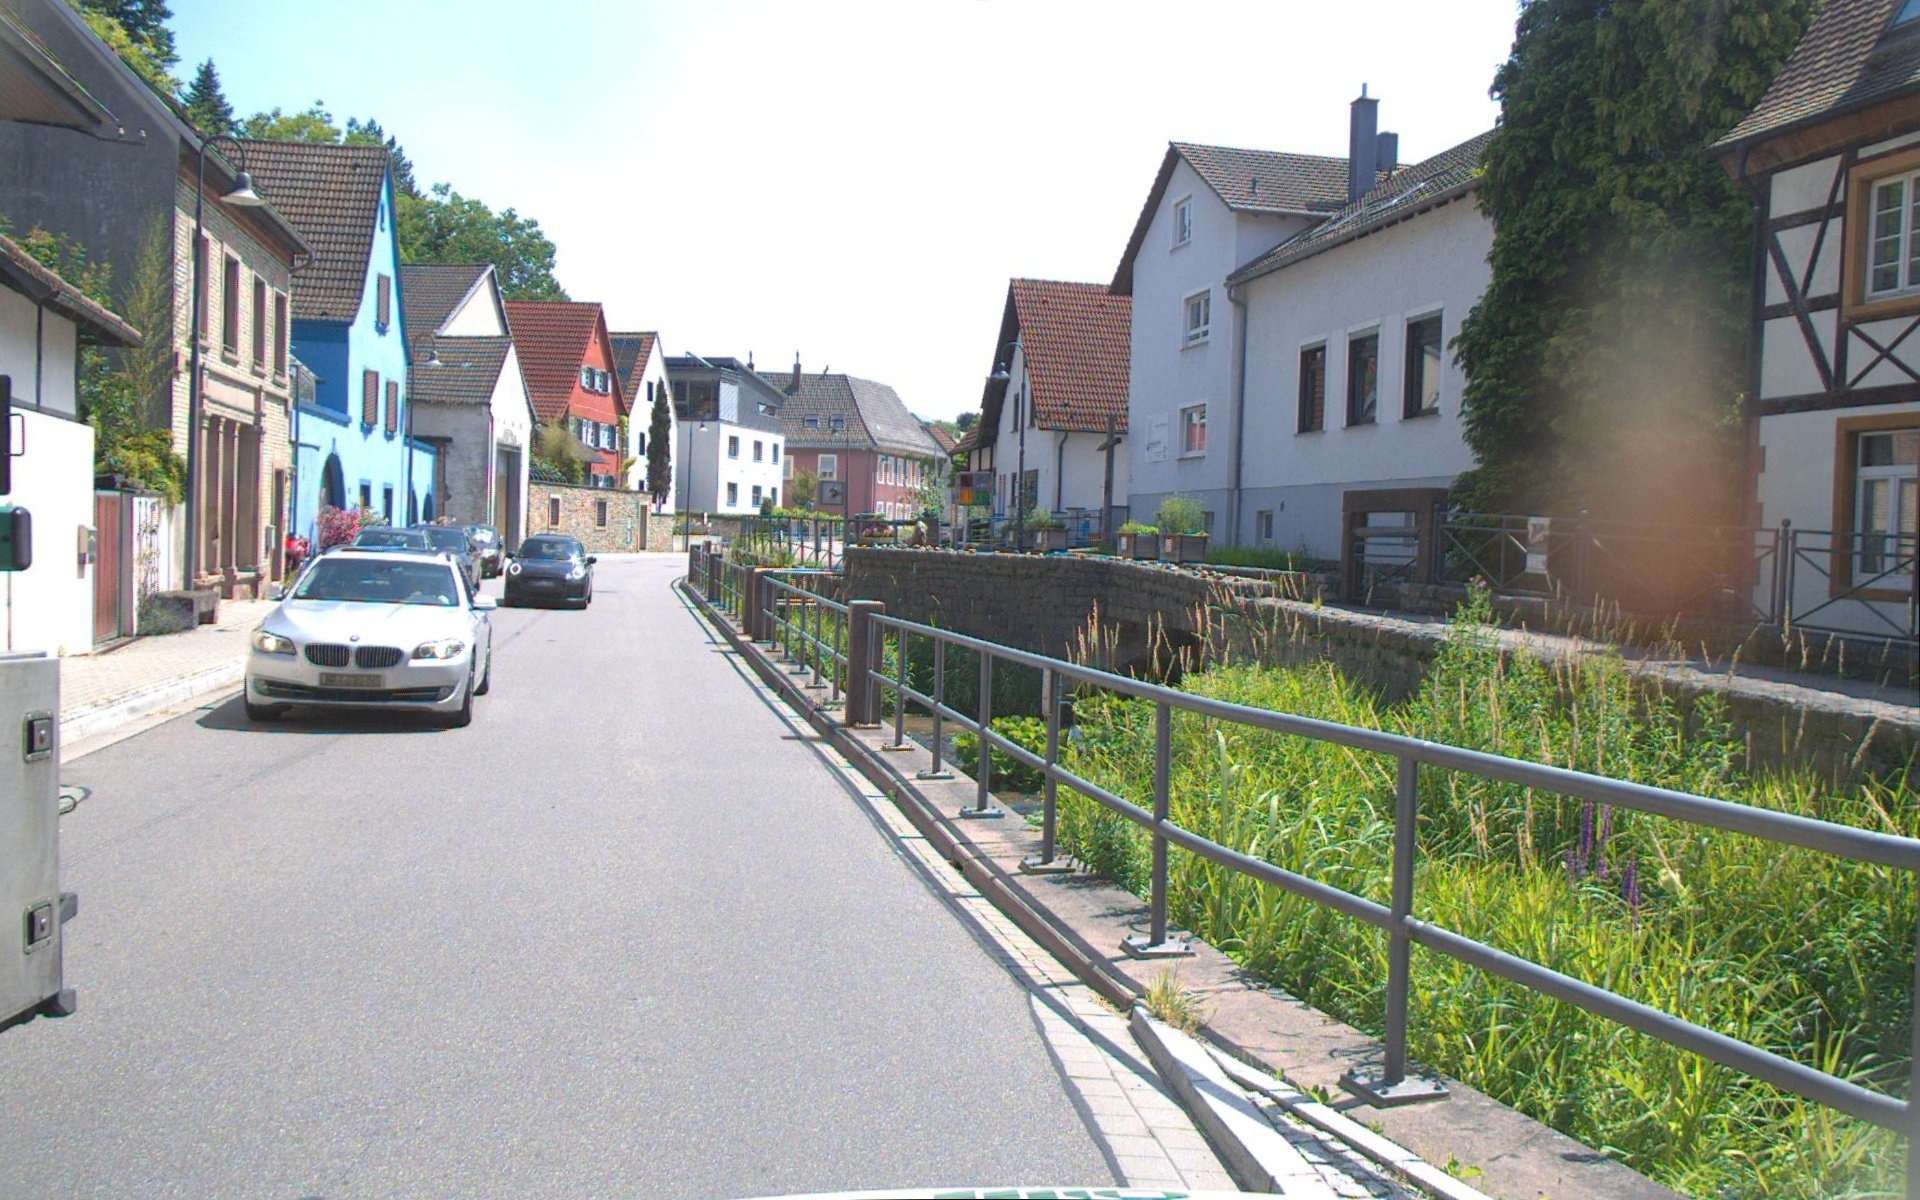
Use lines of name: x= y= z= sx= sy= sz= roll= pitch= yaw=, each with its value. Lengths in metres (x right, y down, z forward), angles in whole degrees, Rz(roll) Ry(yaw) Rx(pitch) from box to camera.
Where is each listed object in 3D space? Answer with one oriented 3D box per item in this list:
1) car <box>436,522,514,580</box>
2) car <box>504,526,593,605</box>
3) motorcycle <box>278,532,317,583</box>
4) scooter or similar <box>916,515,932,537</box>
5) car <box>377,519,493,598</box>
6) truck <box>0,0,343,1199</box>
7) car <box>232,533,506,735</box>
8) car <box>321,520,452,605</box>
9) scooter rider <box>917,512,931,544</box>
car: x=-14.027 y=-1.454 z=47.988 sx=1.685 sy=1.556 sz=3.849 roll=1 pitch=3 yaw=-9
car: x=-8.811 y=-0.755 z=35.629 sx=1.669 sy=1.491 sz=4.421 roll=3 pitch=1 yaw=-13
motorcycle: x=-14.163 y=-0.919 z=35.403 sx=0.411 sy=1.018 sz=1.852 roll=6 pitch=1 yaw=-13
scooter or similar: x=-2.017 y=-4.135 z=92.522 sx=0.630 sy=1.162 sz=1.807 roll=0 pitch=2 yaw=-11
car: x=-11.912 y=-0.995 z=37.773 sx=1.851 sy=1.488 sz=4.658 roll=5 pitch=2 yaw=-11
truck: x=-2.681 y=-0.467 z=0.366 sx=2.365 sy=3.722 sz=9.556 roll=0 pitch=1 yaw=-6
car: x=-5.378 y=0.202 z=15.628 sx=1.863 sy=1.526 sz=4.599 roll=3 pitch=2 yaw=-14
car: x=-11.316 y=-0.762 z=32.933 sx=1.923 sy=1.491 sz=4.531 roll=2 pitch=1 yaw=-13
scooter rider: x=-2.011 y=-4.032 z=92.438 sx=0.630 sy=1.761 sz=0.553 roll=2 pitch=1 yaw=-12
